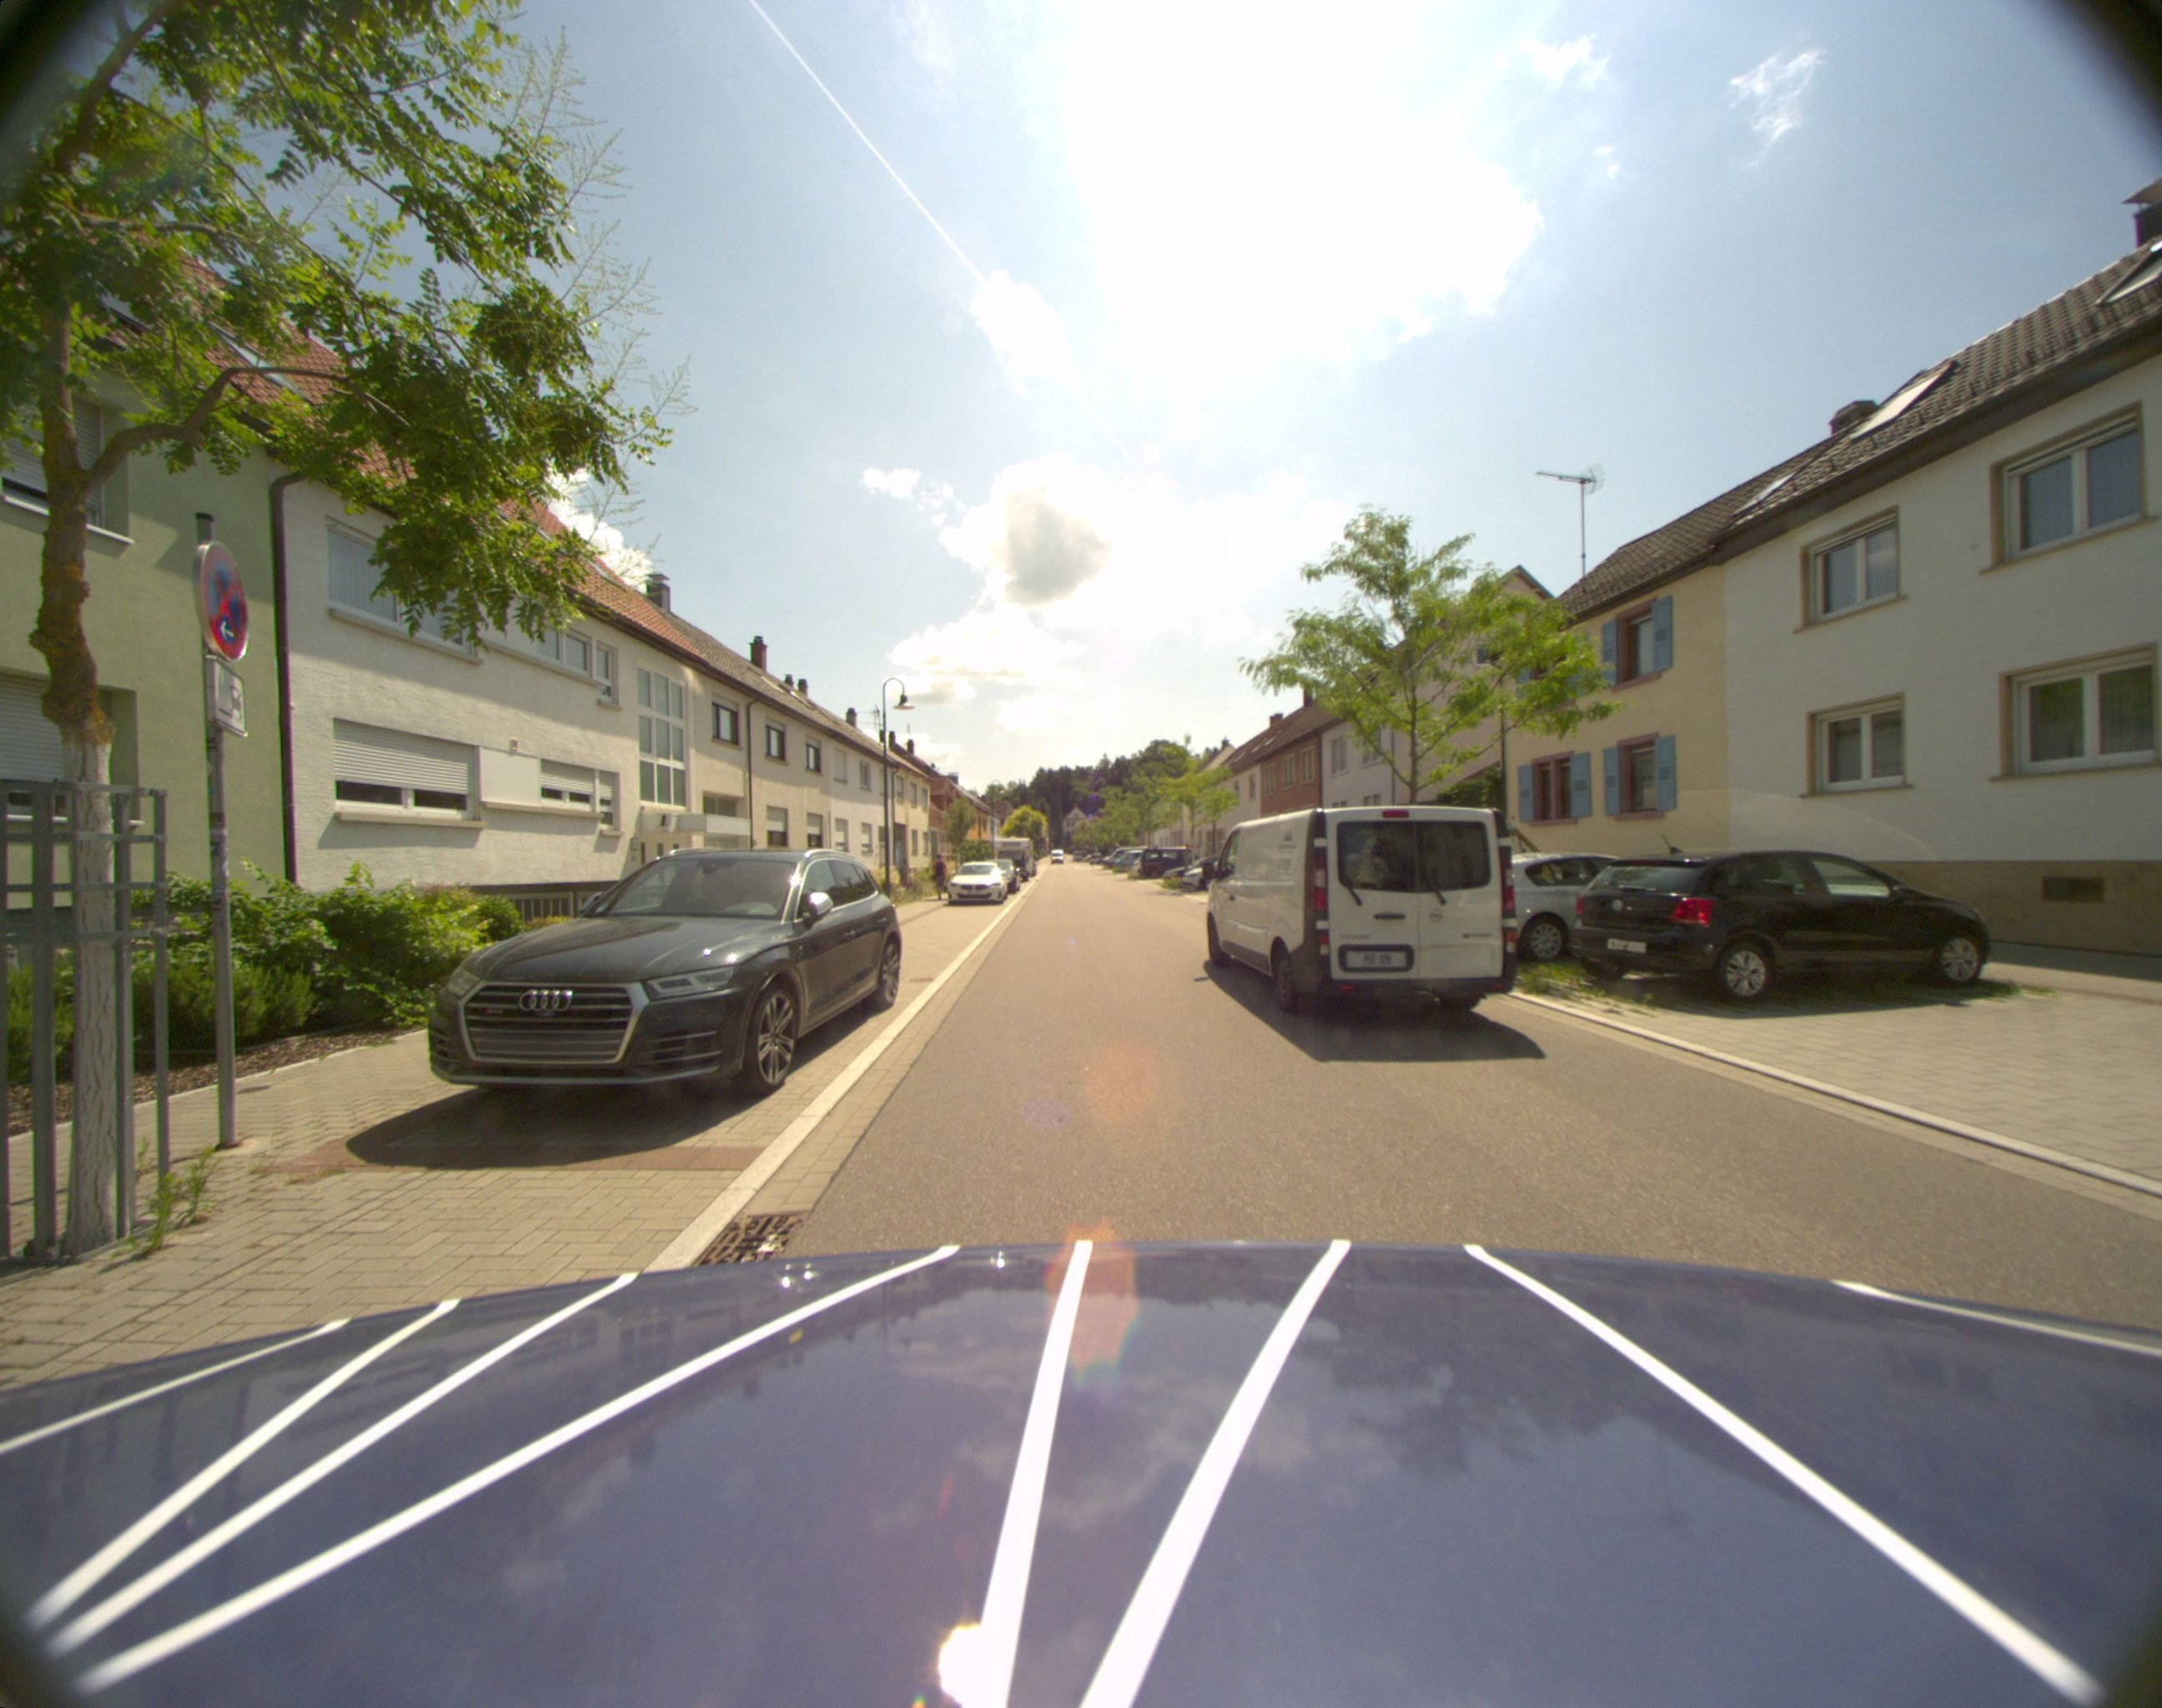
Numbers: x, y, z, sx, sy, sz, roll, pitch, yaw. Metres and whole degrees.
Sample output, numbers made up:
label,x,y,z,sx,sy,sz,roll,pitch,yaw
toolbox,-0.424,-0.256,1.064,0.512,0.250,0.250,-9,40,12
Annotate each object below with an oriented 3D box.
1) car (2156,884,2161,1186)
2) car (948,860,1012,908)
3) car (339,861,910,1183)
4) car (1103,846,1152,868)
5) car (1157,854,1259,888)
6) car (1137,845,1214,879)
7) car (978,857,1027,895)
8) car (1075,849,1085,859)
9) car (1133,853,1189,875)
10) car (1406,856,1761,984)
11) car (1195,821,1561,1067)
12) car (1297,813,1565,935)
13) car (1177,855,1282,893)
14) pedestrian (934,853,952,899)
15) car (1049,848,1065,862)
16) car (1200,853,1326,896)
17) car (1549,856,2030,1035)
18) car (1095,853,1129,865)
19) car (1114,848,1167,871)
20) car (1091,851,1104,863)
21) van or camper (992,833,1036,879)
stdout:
label,x,y,z,sx,sy,sz,roll,pitch,yaw
car,7.337,0.813,2.774,4.306,1.459,1.773,-2,1,0
car,-3.454,0.976,26.737,1.837,1.457,4.518,-1,0,-3
car,-2.874,0.892,6.166,1.869,1.626,4.446,1,0,1
car,5.250,0.334,86.398,5.181,2.275,2.156,-3,1,-3
car,6.070,0.799,36.560,4.536,1.417,1.795,-2,0,-2
car,6.040,0.487,48.881,4.624,1.985,1.953,-2,1,0
car,-3.434,0.922,33.844,1.771,1.520,4.006,-1,0,-1
car,-0.312,0.041,163.659,1.999,1.968,3.998,-1,1,-2
car,5.893,0.716,56.169,3.926,1.480,1.772,-2,0,0
car,7.020,0.836,10.794,4.085,1.459,1.752,-2,0,-10
car,2.768,0.689,8.542,2.028,1.939,4.896,-1,1,-2
car,6.967,0.380,15.462,4.520,2.164,1.925,-2,1,-1
car,6.322,0.831,32.581,4.065,1.469,1.775,-2,0,-4
pedestrian,-5.280,0.836,29.050,0.559,1.739,0.673,-1,1,-1
car,-4.080,0.141,128.384,2.490,2.306,5.598,-3,1,-2
car,7.052,0.784,29.674,4.416,1.469,1.775,-2,0,-5
car,7.279,0.826,7.967,3.892,1.459,1.657,-2,1,-10
car,4.396,0.702,108.174,4.599,1.508,1.901,-2,0,-2
car,5.441,0.487,70.063,4.689,1.896,1.999,-3,1,-1
car,2.621,0.545,120.019,1.844,1.737,4.686,-3,-1,0
van or camper,-4.223,0.160,48.946,2.480,2.793,5.789,0,0,-2
